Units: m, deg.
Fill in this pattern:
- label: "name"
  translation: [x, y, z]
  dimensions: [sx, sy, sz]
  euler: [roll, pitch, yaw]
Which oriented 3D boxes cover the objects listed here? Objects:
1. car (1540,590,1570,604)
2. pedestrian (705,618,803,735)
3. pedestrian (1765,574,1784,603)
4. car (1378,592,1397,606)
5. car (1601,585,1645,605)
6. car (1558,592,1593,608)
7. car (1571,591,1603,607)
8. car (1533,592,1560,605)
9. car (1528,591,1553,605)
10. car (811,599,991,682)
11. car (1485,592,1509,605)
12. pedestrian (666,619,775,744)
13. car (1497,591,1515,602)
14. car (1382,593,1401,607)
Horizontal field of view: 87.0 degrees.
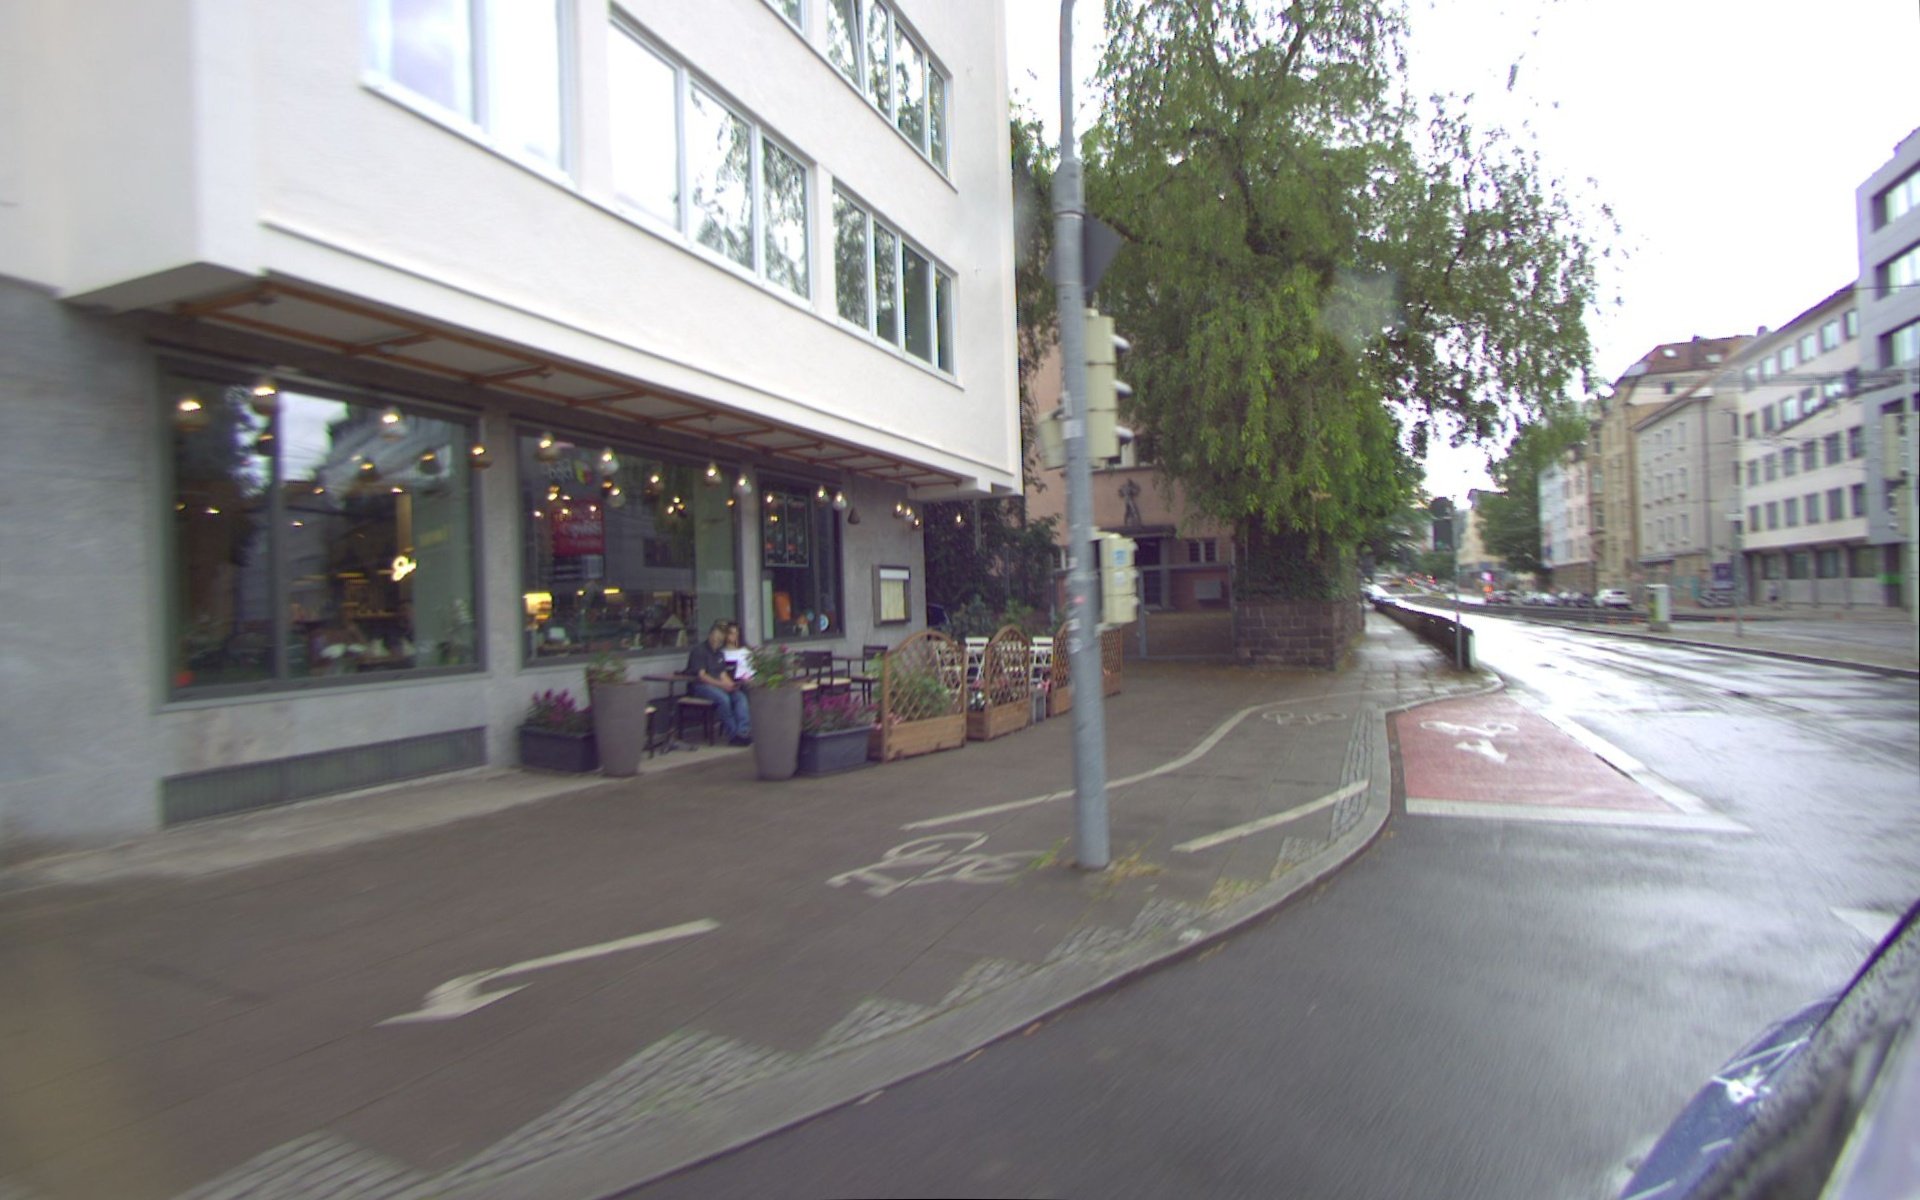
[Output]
- label: "car"
  translation: [63.149, -0.370, 107.474]
  dimensions: [1.977, 1.415, 4.984]
  euler: [1, 1, 22]
- label: "pedestrian"
  translation: [-2.259, 0.813, 11.126]
  dimensions: [0.908, 1.206, 0.564]
  euler: [0, 0, 23]
- label: "pedestrian"
  translation: [47.348, -0.641, 58.841]
  dimensions: [0.542, 1.633, 0.792]
  euler: [-5, -2, 24]
- label: "car"
  translation: [49.779, -0.071, 117.965]
  dimensions: [1.739, 1.549, 4.304]
  euler: [-2, -1, 20]
- label: "car"
  translation: [53.472, -0.405, 81.756]
  dimensions: [1.976, 1.555, 4.716]
  euler: [1, 1, 21]
- label: "car"
  translation: [59.245, -0.037, 97.539]
  dimensions: [1.976, 1.474, 4.987]
  euler: [1, 1, 21]
- label: "car"
  translation: [57.428, -0.104, 92.789]
  dimensions: [1.721, 1.474, 4.141]
  euler: [1, 1, 21]
- label: "car"
  translation: [65.139, -0.137, 112.470]
  dimensions: [1.821, 1.415, 4.237]
  euler: [0, 0, 20]
- label: "car"
  translation: [67.474, -0.268, 117.619]
  dimensions: [1.821, 1.625, 4.200]
  euler: [0, 0, 20]
- label: "car"
  translation: [-1.161, 0.768, 20.291]
  dimensions: [3.159, 1.526, 1.787]
  euler: [0, 0, 23]
- label: "car"
  translation: [68.728, -0.214, 129.542]
  dimensions: [1.920, 1.555, 4.323]
  euler: [1, 1, 18]
- label: "pedestrian"
  translation: [-2.490, 0.820, 10.551]
  dimensions: [0.922, 1.206, 0.631]
  euler: [0, 0, 23]
- label: "car"
  translation: [77.824, -0.508, 144.200]
  dimensions: [1.823, 1.561, 4.196]
  euler: [0, 0, 22]
- label: "car"
  translation: [48.039, -0.007, 112.659]
  dimensions: [1.768, 1.549, 4.213]
  euler: [-2, -1, 22]
